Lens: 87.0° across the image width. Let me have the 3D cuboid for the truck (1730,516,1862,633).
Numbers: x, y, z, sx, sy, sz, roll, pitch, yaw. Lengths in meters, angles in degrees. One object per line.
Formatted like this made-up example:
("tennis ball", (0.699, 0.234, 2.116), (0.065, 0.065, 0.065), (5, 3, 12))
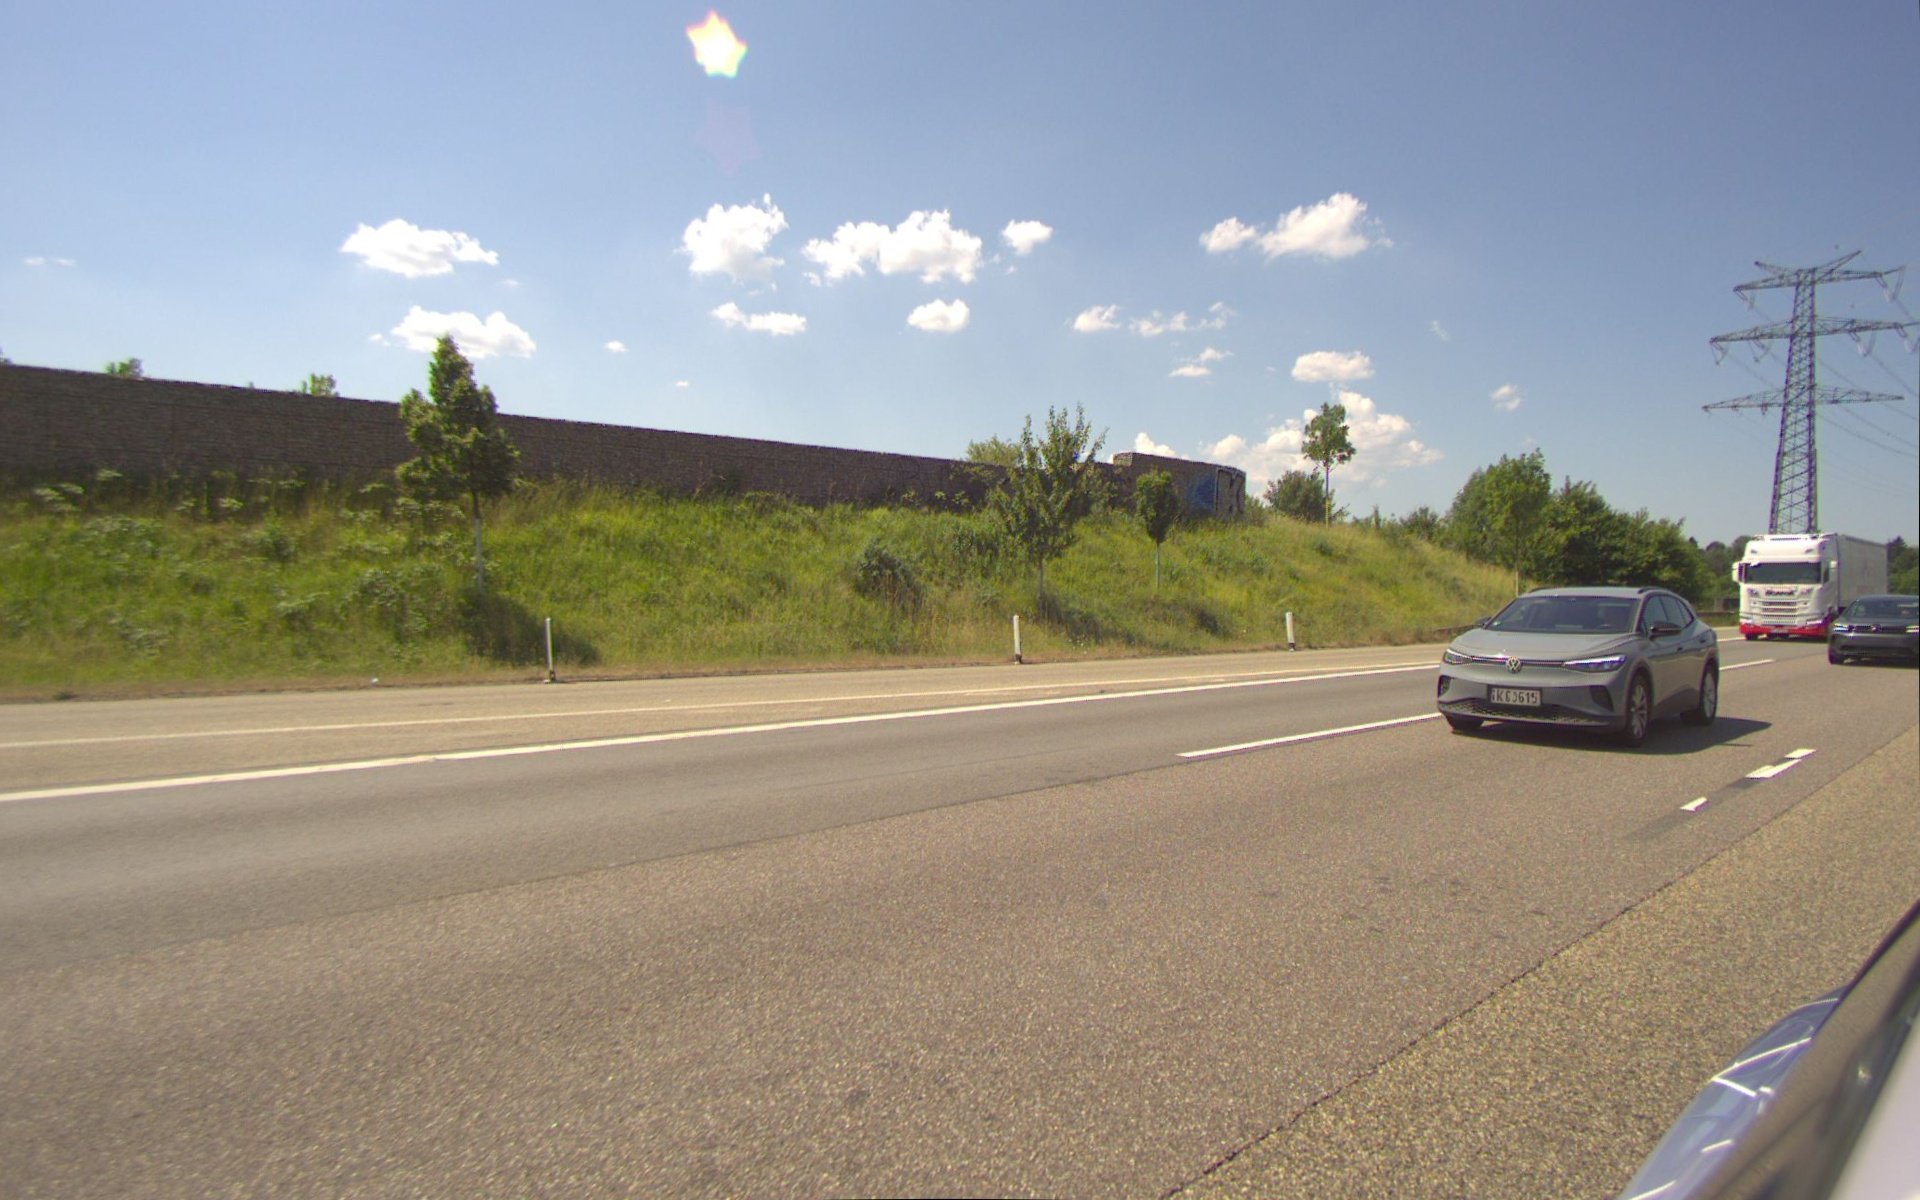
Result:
("truck", (30.340, -0.886, 36.720), (3.779, 3.957, 3.074), (0, 0, -40))

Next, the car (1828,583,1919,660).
("car", (21.945, 0.467, 23.629), (3.975, 1.667, 1.954), (0, 0, -40))

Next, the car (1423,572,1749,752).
("car", (7.253, 0.561, 11.531), (4.504, 1.657, 1.872), (0, 0, -40))

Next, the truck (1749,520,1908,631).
("truck", (35.608, -0.887, 41.222), (12.283, 3.957, 3.074), (0, 0, -40))
